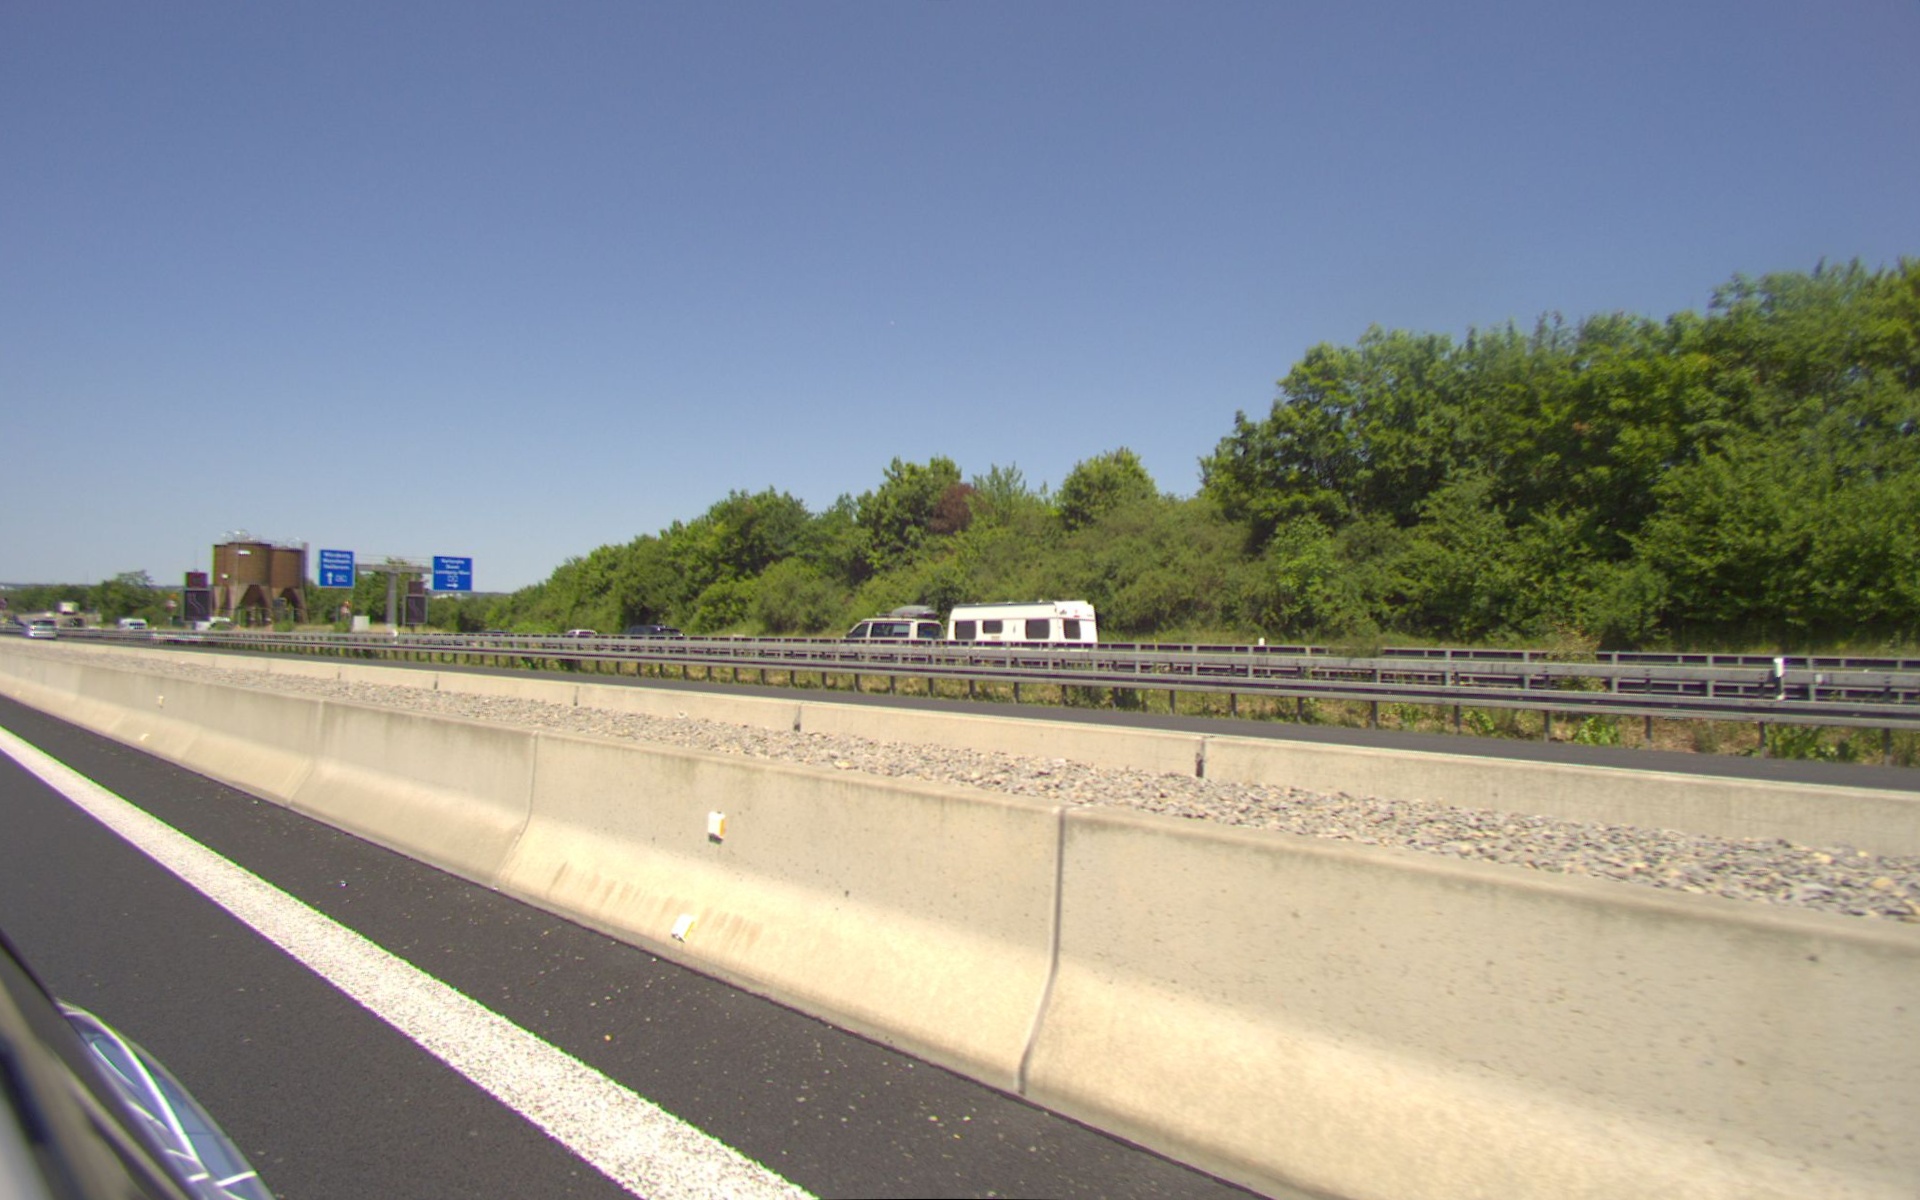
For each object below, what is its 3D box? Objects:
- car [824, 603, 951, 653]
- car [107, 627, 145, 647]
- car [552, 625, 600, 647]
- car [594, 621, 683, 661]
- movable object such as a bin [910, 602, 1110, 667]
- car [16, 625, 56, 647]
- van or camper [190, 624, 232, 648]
[{"bbox_3d":[-2.821,1.082,38.768,4.812,1.820,1.974,-1,-3,39],"label":"car"},{"bbox_3d":[-108.277,4.847,131.333,5.960,2.521,2.767,-2,-3,41],"label":"car"},{"bbox_3d":[-31.540,2.944,83.039,1.970,1.589,4.998,-1,0,-42],"label":"car"},{"bbox_3d":[-13.688,1.705,42.973,3.998,1.522,1.775,-1,0,41],"label":"car"},{"bbox_3d":[1.608,1.115,34.975,6.775,2.029,2.482,-1,0,40],"label":"movable object such as a bin"},{"bbox_3d":[-79.019,3.077,86.552,5.083,1.856,1.972,-2,-4,42],"label":"car"},{"bbox_3d":[-77.909,3.702,105.216,6.964,2.272,2.085,-1,0,41],"label":"van or camper"}]
